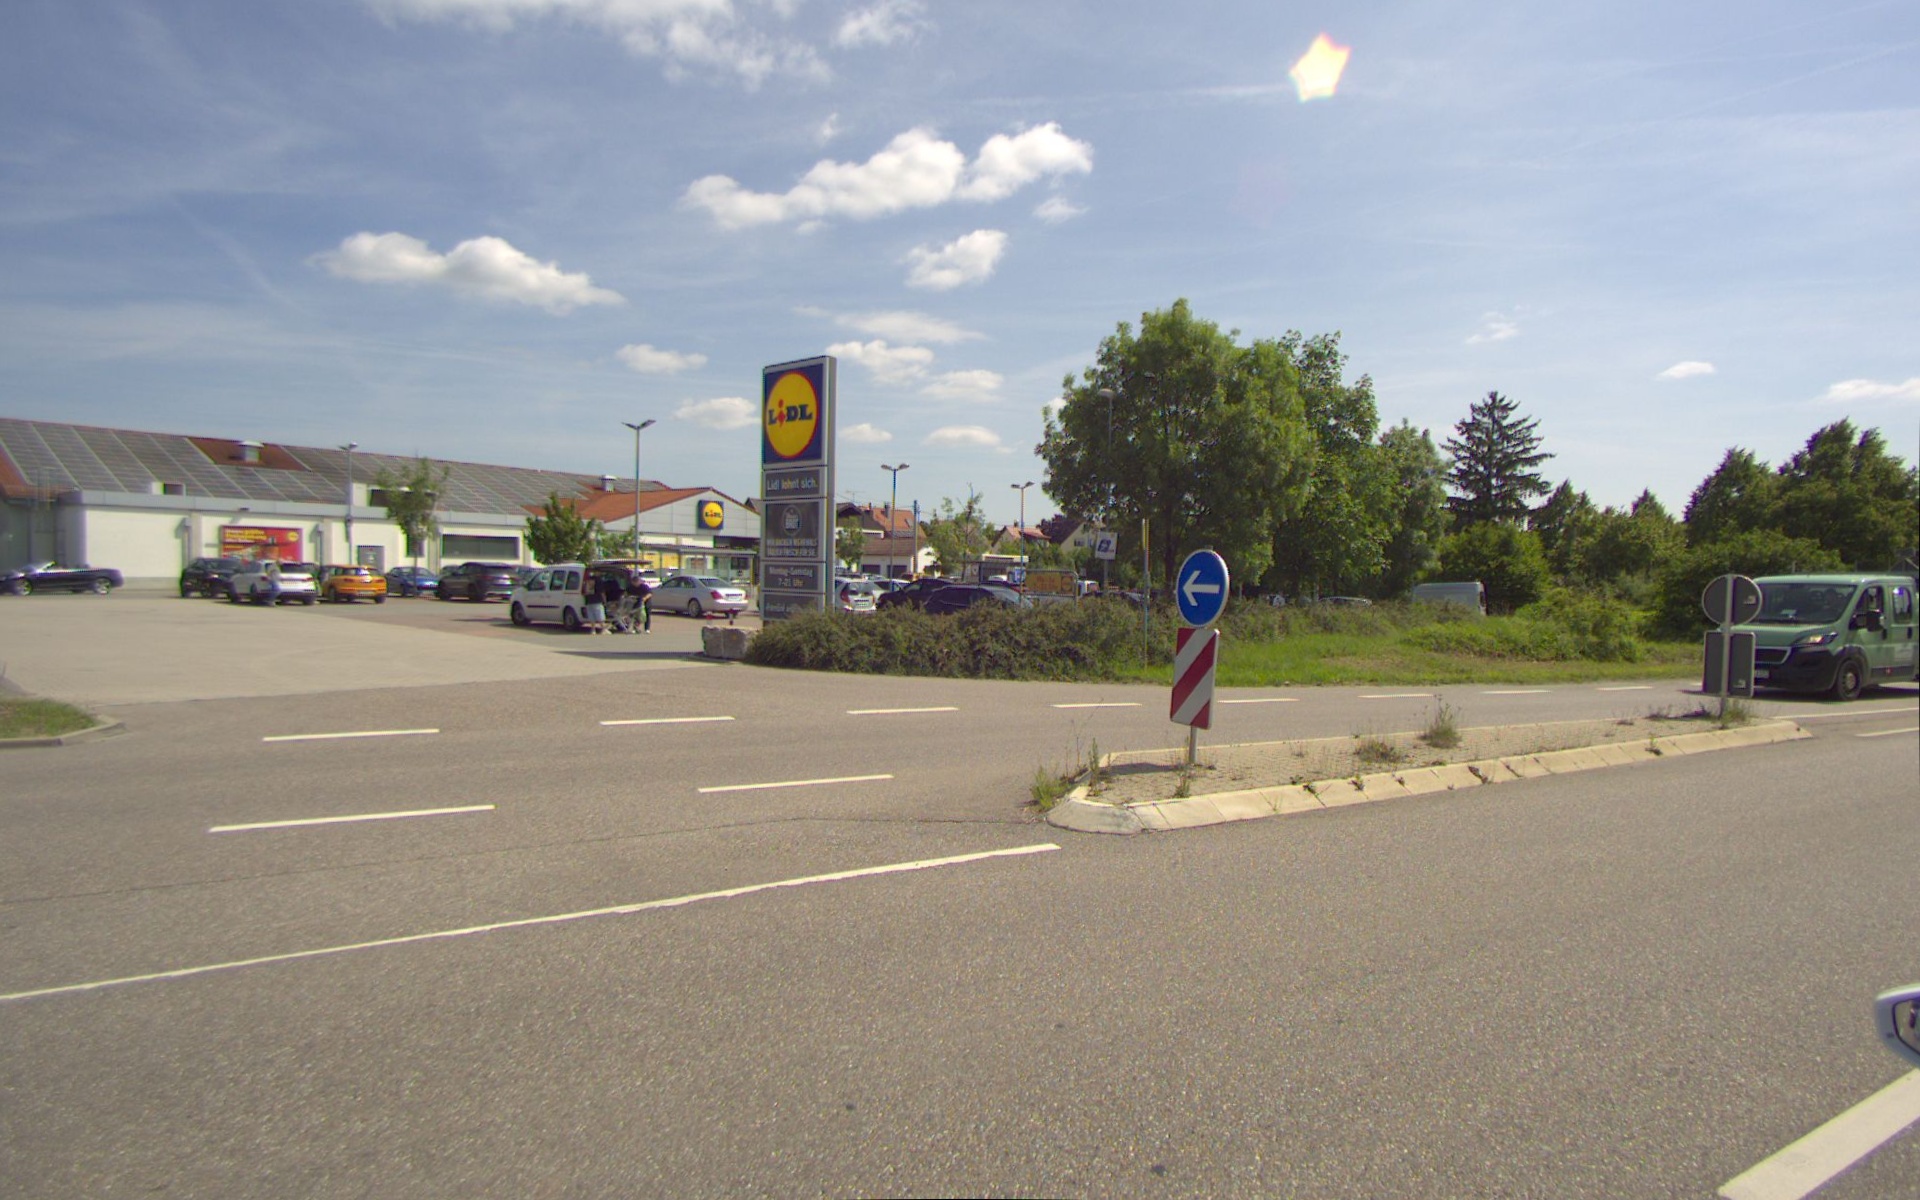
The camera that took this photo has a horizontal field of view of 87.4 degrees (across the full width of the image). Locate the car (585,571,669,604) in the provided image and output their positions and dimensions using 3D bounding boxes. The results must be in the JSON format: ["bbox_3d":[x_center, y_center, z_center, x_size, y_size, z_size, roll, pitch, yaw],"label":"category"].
[{"bbox_3d":[-16.241,-0.623,48.942,3.933,1.461,1.880,3,1,35],"label":"car"}]

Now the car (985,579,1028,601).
[{"bbox_3d":[4.062,-0.881,87.498,1.867,1.783,3.987,2,0,35],"label":"car"}]

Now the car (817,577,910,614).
[{"bbox_3d":[-4.337,-0.211,44.901,3.937,1.549,1.772,2,0,38],"label":"car"}]

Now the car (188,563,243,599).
[{"bbox_3d":[-29.588,-0.774,39.922,1.702,1.328,3.957,1,2,-37],"label":"car"}]

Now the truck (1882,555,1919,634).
[{"bbox_3d":[51.167,-0.268,51.004,2.751,4.116,5.827,0,1,-14],"label":"truck"}]

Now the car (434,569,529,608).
[{"bbox_3d":[-20.135,-0.488,42.224,3.933,1.461,1.880,3,1,35],"label":"car"}]

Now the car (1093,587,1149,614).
[{"bbox_3d":[10.471,0.063,65.055,1.883,1.662,3.983,2,0,38],"label":"car"}]

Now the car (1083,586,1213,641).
[{"bbox_3d":[6.240,0.429,33.530,3.942,1.679,1.685,2,0,42],"label":"car"}]

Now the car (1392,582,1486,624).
[{"bbox_3d":[27.624,0.137,57.947,4.525,2.209,1.992,2,1,38],"label":"car"}]

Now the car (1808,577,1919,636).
[{"bbox_3d":[45.113,0.312,49.540,2.081,2.690,5.989,1,0,8],"label":"car"}]

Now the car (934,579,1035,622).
[{"bbox_3d":[1.024,0.002,42.794,3.940,1.711,1.917,2,0,40],"label":"car"}]

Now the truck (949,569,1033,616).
[{"bbox_3d":[1.615,-0.406,53.025,3.933,2.397,1.994,2,0,34],"label":"truck"}]

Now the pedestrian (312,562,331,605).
[{"bbox_3d":[-23.381,-0.602,36.780,0.512,1.573,0.500,1,0,-37],"label":"pedestrian"}]

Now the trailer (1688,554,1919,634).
[{"bbox_3d":[49.574,-0.418,58.017,2.750,4.116,13.691,0,1,-13],"label":"trailer"}]

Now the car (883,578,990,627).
[{"bbox_3d":[-0.958,0.067,39.691,3.940,1.697,1.902,3,2,40],"label":"car"}]

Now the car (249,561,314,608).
[{"bbox_3d":[-24.491,-0.602,36.215,1.753,1.561,3.957,0,3,-37],"label":"car"}]

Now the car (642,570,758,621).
[{"bbox_3d":[-9.648,-0.200,37.137,4.354,1.698,1.858,3,2,38],"label":"car"}]

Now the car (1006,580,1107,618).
[{"bbox_3d":[4.598,-0.056,47.973,4.354,1.717,1.994,1,1,34],"label":"car"}]

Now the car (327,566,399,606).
[{"bbox_3d":[-23.298,-0.563,39.116,1.870,1.461,3.955,1,1,-39],"label":"car"}]

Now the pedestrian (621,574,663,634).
[{"bbox_3d":[-8.559,0.110,27.040,0.692,1.596,0.807,2,0,33],"label":"pedestrian"}]

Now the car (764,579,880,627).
[{"bbox_3d":[-4.982,0.065,36.004,4.082,1.522,1.775,3,2,39],"label":"car"}]

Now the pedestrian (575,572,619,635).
[{"bbox_3d":[-9.422,0.083,26.082,0.692,1.596,0.807,2,0,33],"label":"pedestrian"}]

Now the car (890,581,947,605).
[{"bbox_3d":[-3.006,-0.506,73.374,1.850,1.562,4.242,2,0,37],"label":"car"}]

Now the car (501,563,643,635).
[{"bbox_3d":[-10.915,-0.070,28.149,4.102,1.836,1.873,2,1,38],"label":"car"}]

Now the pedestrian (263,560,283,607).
[{"bbox_3d":[-23.397,-0.564,34.210,0.500,1.573,0.512,1,0,-33],"label":"pedestrian"}]

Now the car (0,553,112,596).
[{"bbox_3d":[-36.886,-1.013,40.409,1.719,1.634,3.874,1,1,23],"label":"car"}]

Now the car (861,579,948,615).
[{"bbox_3d":[-2.607,-0.159,46.701,3.941,1.549,1.770,2,0,42],"label":"car"}]

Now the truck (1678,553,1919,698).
[{"bbox_3d":[16.653,0.461,18.909,6.262,2.407,2.236,1,1,-24],"label":"truck"}]
